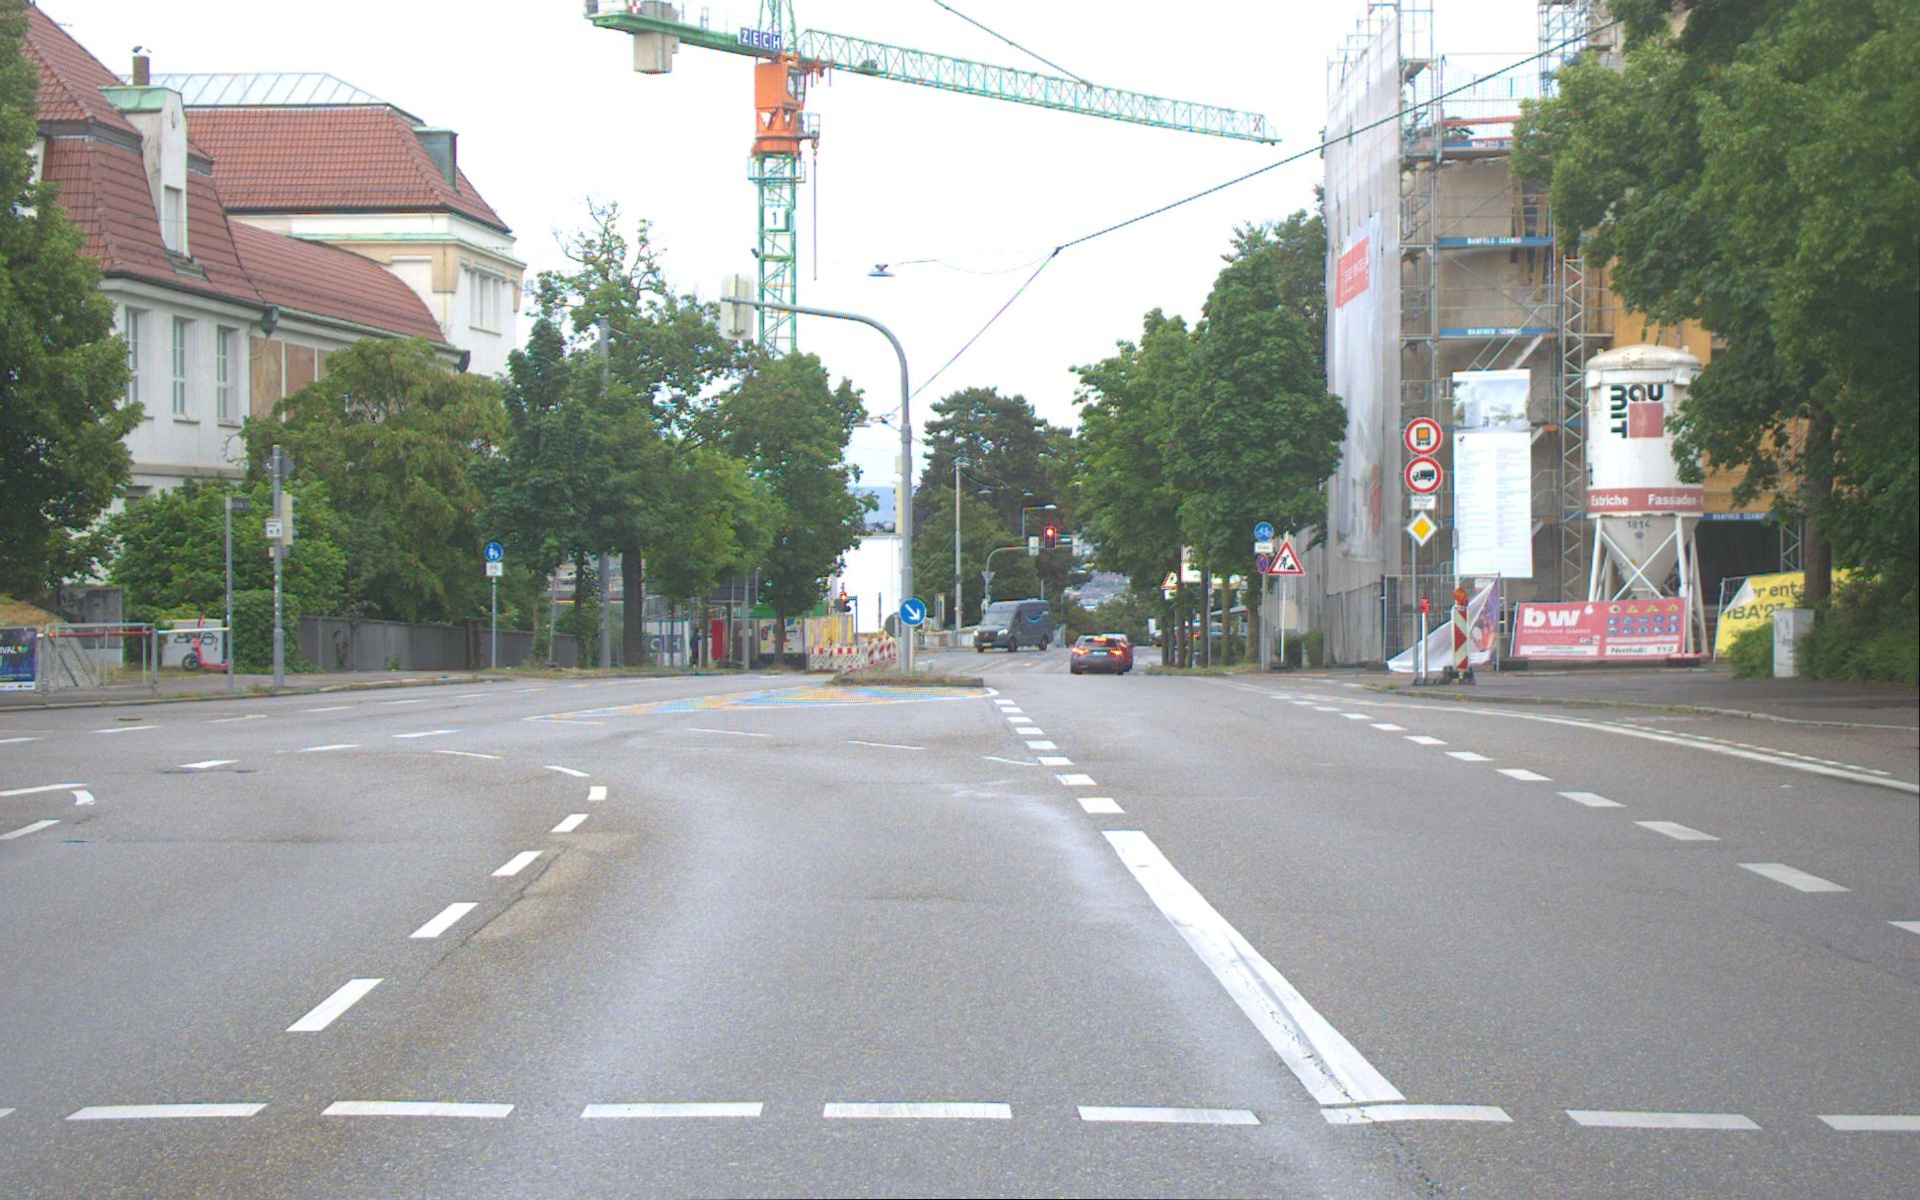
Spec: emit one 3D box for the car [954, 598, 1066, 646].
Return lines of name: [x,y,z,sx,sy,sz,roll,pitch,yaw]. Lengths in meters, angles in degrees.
car: [2.596,1.109,176.787,2.854,2.394,6.175,1,0,34]

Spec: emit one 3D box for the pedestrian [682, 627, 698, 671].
pedestrian: [-10.230,1.847,130.319,0.493,1.640,0.533,1,0,3]

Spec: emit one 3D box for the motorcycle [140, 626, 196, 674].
motorcycle: [-14.893,0.936,64.672,0.849,0.874,0.877,1,0,-1]

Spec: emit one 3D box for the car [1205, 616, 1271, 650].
car: [15.121,1.796,186.791,1.997,1.744,3.993,-1,1,31]

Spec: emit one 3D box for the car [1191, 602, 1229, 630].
car: [15.950,1.006,219.100,1.994,1.744,3.998,-1,1,11]

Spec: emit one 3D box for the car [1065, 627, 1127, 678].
car: [4.933,1.897,125.032,1.993,1.744,4.000,-1,1,-1]

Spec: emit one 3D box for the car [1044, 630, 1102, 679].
car: [4.331,2.067,132.016,1.993,1.744,4.000,-1,1,-1]
